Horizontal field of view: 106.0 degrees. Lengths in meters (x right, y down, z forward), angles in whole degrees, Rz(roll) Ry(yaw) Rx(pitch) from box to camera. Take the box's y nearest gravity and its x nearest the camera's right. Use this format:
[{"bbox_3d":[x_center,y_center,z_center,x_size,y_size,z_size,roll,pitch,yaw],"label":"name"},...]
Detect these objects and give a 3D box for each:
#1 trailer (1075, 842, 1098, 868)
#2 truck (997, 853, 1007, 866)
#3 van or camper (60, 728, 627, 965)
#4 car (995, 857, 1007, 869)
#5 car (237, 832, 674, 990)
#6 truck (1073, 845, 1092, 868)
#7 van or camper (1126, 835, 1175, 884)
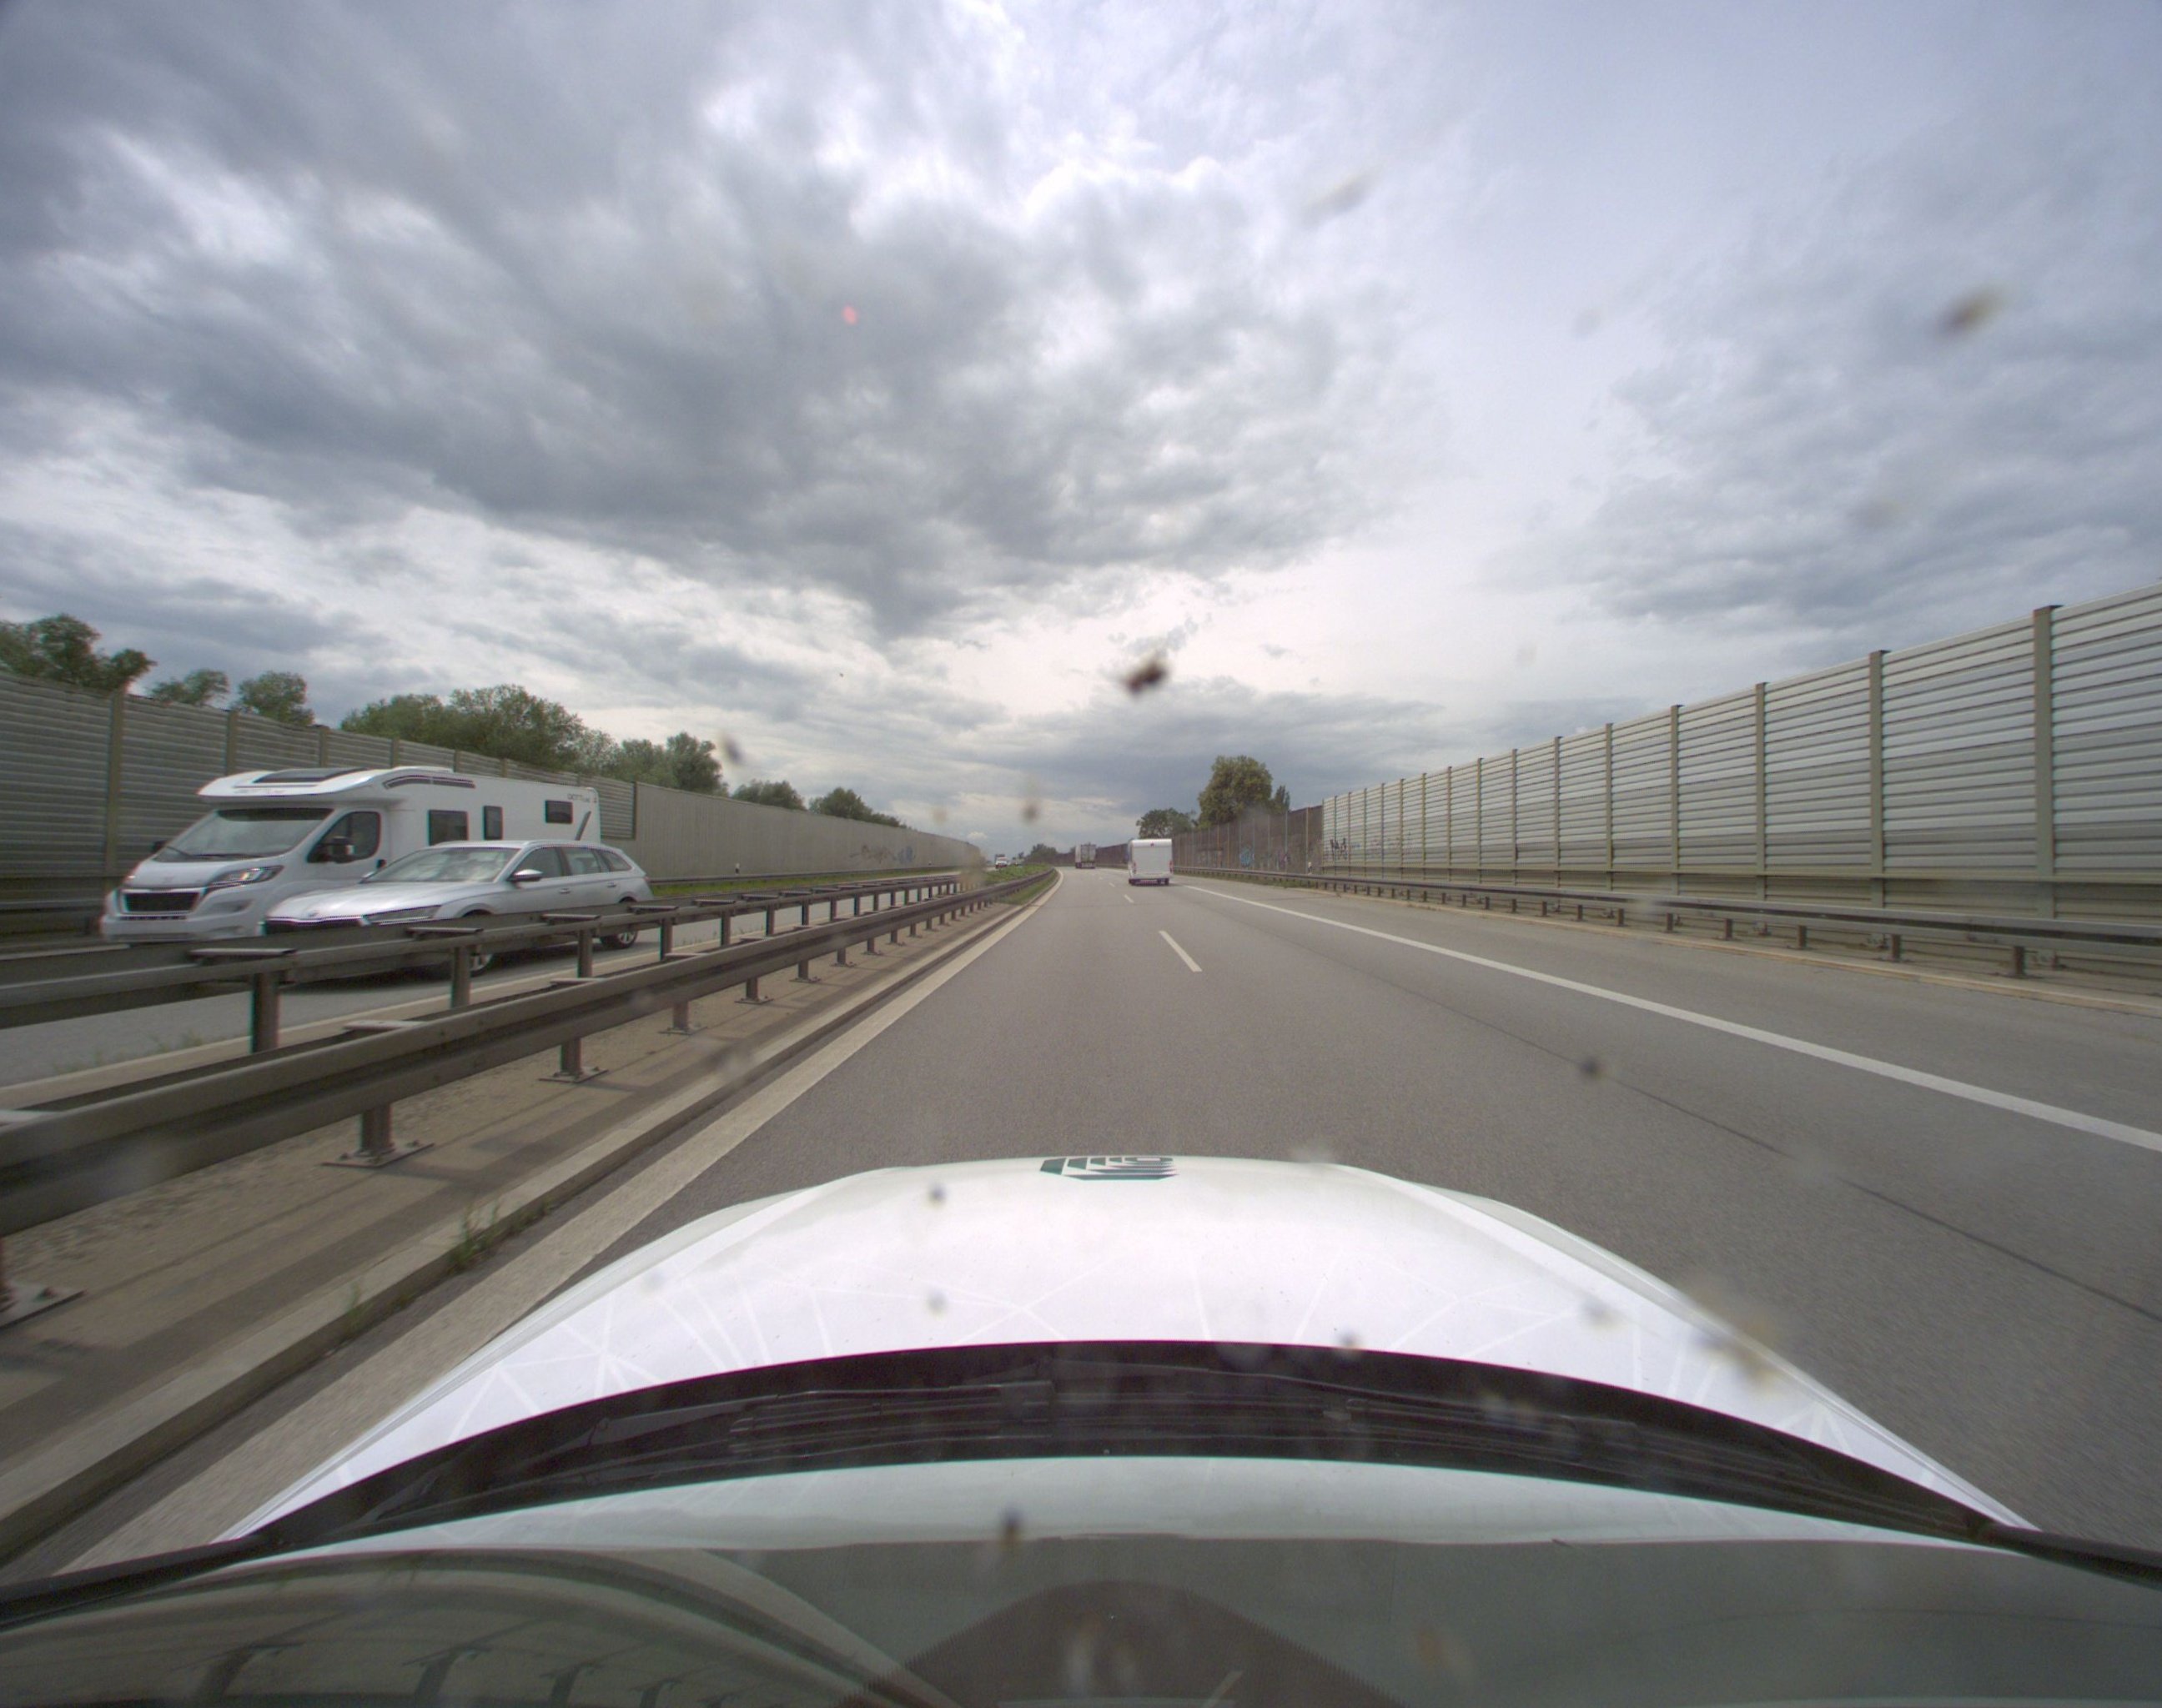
[{"bbox_3d":[0.863,0.313,141.258,2.788,4.175,14.076,-1,-1,-5],"label":"trailer"},{"bbox_3d":[-24.576,1.659,254.749,2.868,3.859,6.065,-2,-1,-4],"label":"truck"},{"bbox_3d":[-11.228,-0.069,13.887,2.457,2.869,7.770,-1,0,1],"label":"van or camper"},{"bbox_3d":[-12.454,1.380,126.620,1.739,1.744,4.619,-1,0,-5],"label":"car"},{"bbox_3d":[-6.994,0.549,9.917,1.687,1.420,4.647,-2,0,0],"label":"car"},{"bbox_3d":[0.177,0.535,147.670,2.753,3.960,5.664,-1,-1,-6],"label":"truck"},{"bbox_3d":[4.102,0.336,49.149,2.421,2.697,7.225,0,-1,1],"label":"van or camper"}]
